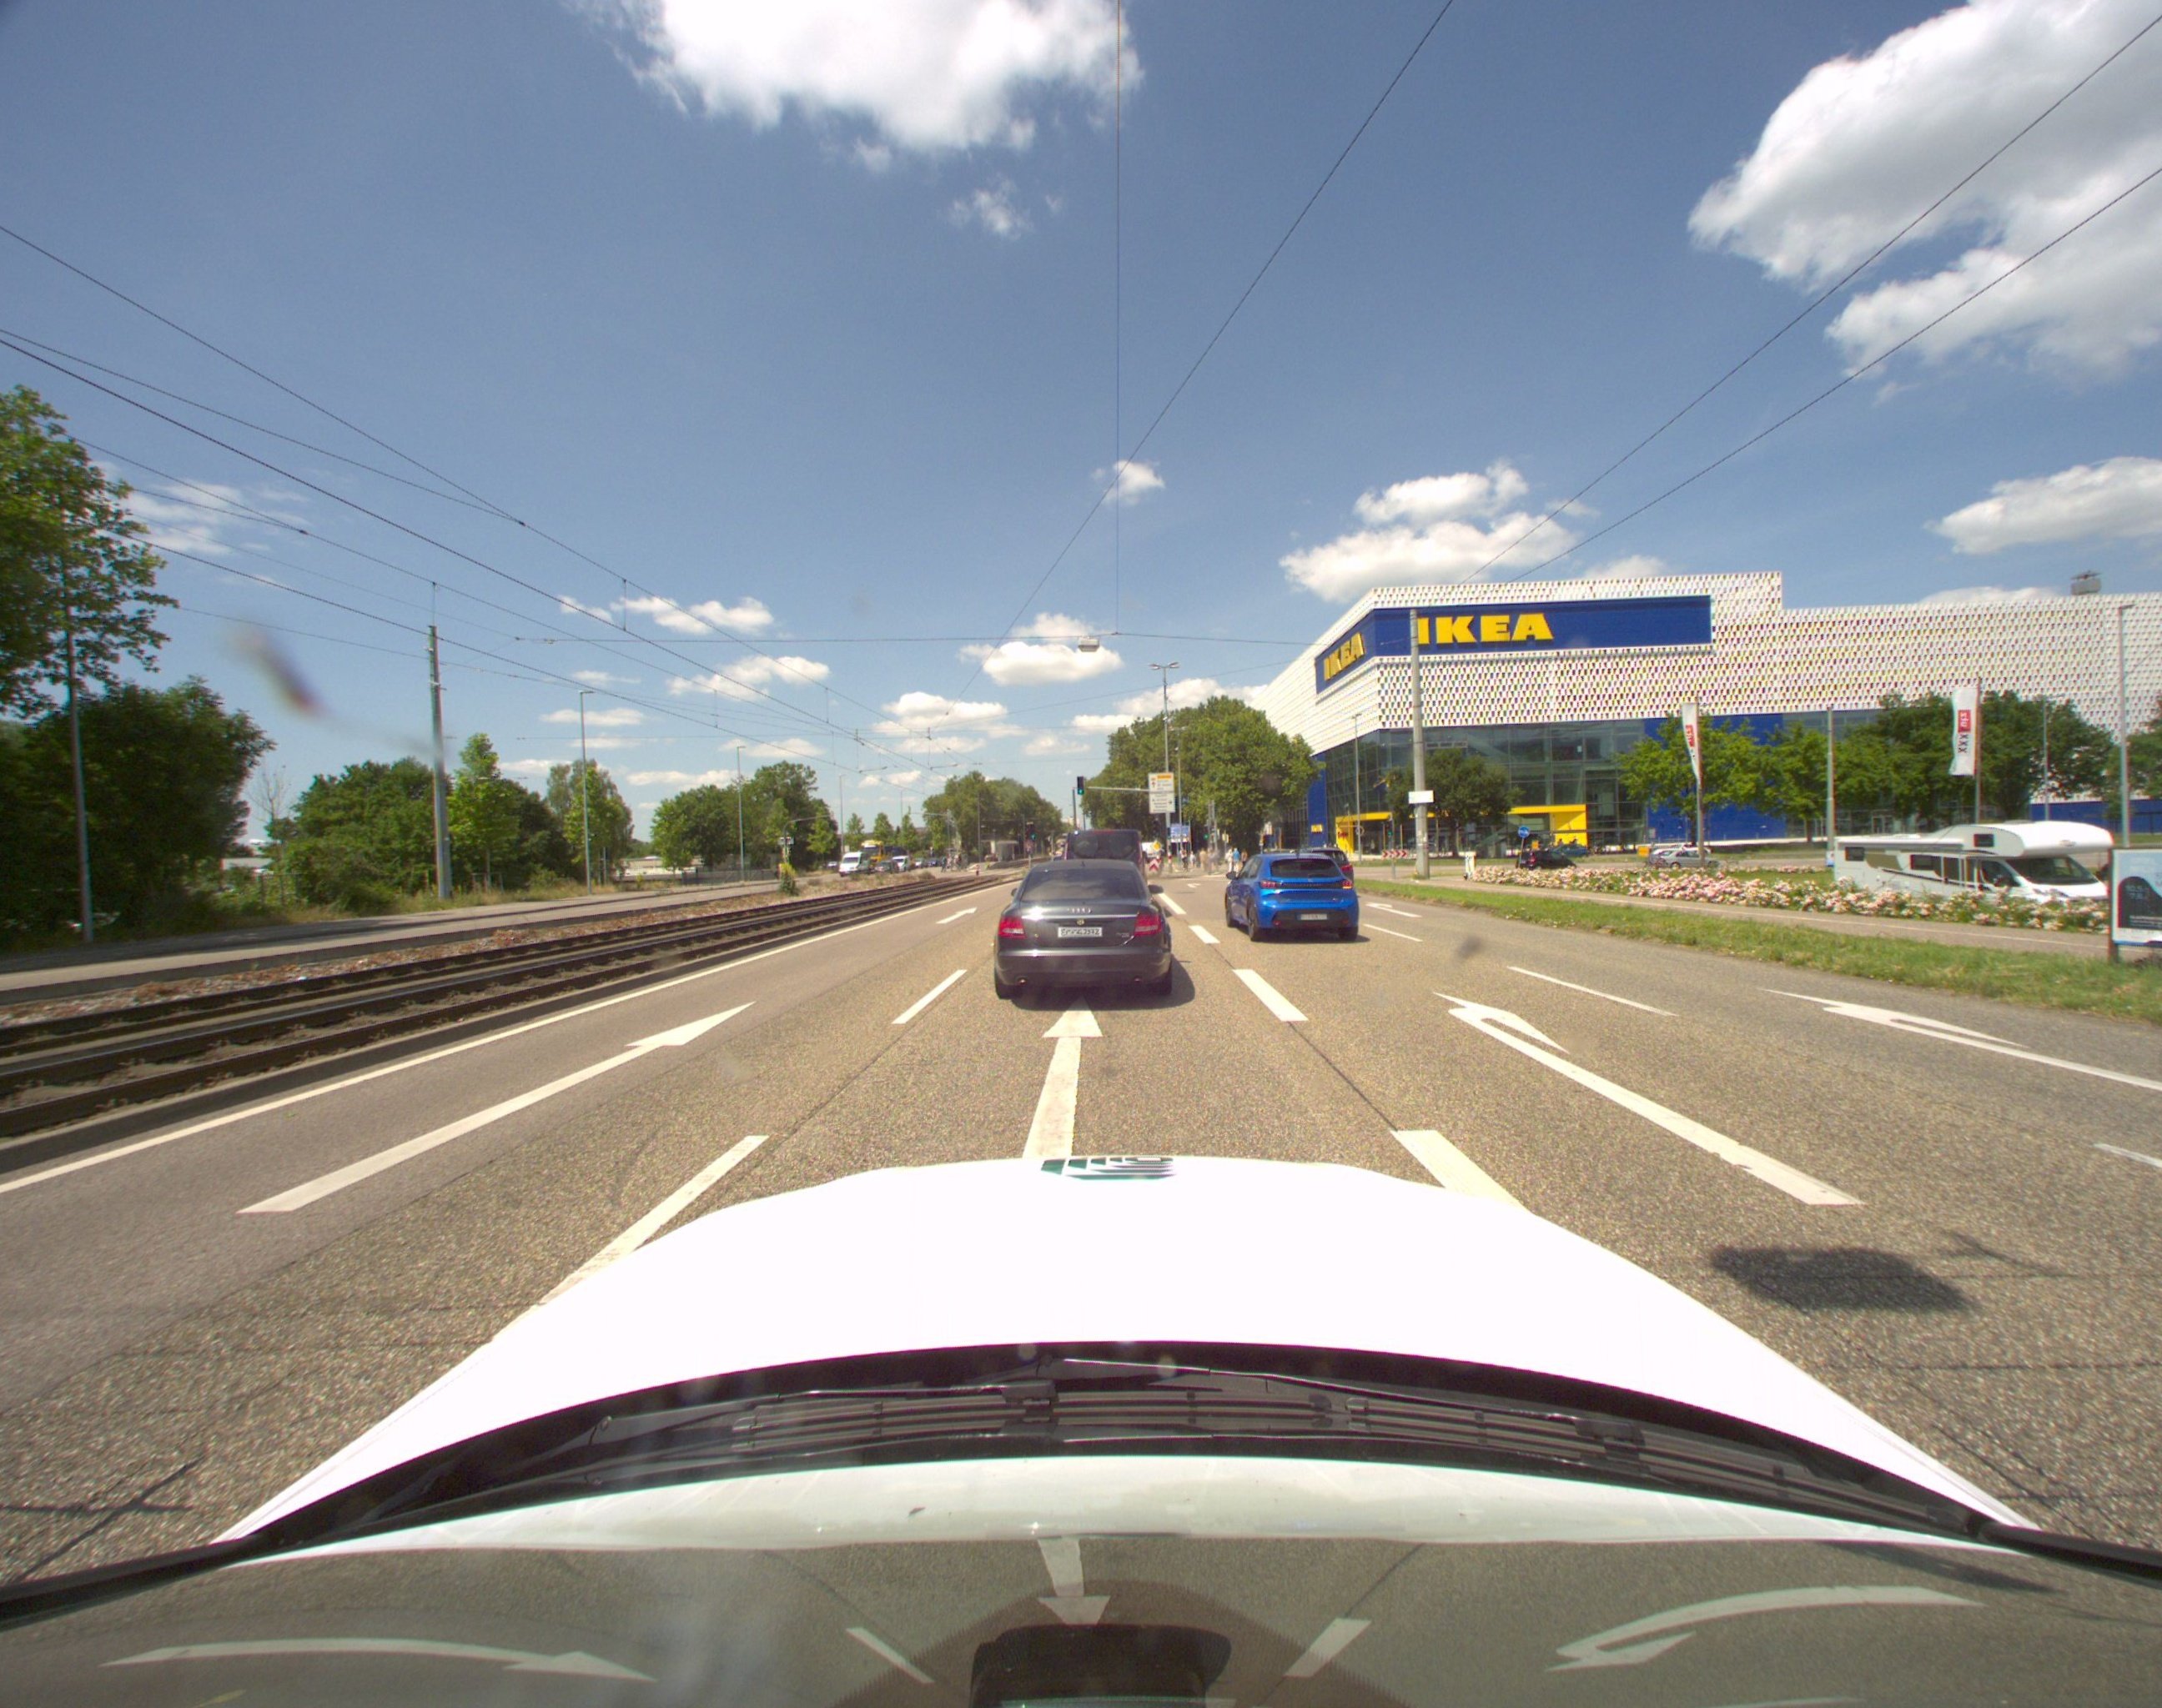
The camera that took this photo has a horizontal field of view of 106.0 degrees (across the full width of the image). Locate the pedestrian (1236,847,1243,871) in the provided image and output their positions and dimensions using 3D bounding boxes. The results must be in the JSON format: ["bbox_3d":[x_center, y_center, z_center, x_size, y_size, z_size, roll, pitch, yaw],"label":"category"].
[{"bbox_3d":[10.893,0.373,56.046,0.396,1.635,0.371,-1,0,5],"label":"pedestrian"}]

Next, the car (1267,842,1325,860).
[{"bbox_3d":[18.204,-0.255,69.128,4.475,1.486,2.003,0,0,5],"label":"car"}]

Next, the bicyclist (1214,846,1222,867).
[{"bbox_3d":[11.248,0.204,66.699,0.525,1.764,0.831,-1,0,15],"label":"bicyclist"}]

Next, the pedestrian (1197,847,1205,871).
[{"bbox_3d":[8.377,0.367,56.786,0.551,1.635,0.433,-1,0,4],"label":"pedestrian"}]

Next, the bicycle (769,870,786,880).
[{"bbox_3d":[-29.369,2.036,78.775,1.487,0.987,0.485,-1,0,-2],"label":"bicycle"}]

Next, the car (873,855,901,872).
[{"bbox_3d":[-20.636,1.017,86.797,1.815,1.670,4.463,0,0,2],"label":"car"}]

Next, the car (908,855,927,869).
[{"bbox_3d":[-23.112,1.105,115.255,1.811,1.883,4.002,-1,0,2],"label":"car"}]

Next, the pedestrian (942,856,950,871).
[{"bbox_3d":[-13.132,0.945,79.100,0.683,1.443,0.572,-1,0,-2],"label":"pedestrian"}]

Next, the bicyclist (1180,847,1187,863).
[{"bbox_3d":[7.738,0.072,61.429,0.468,1.193,0.792,-1,0,3],"label":"bicyclist"}]

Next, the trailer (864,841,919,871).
[{"bbox_3d":[-23.815,0.217,103.667,2.757,3.518,15.884,-1,0,2],"label":"trailer"}]

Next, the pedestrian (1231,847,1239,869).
[{"bbox_3d":[11.279,0.278,59.630,0.501,1.635,0.449,-1,0,4],"label":"pedestrian"}]

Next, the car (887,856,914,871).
[{"bbox_3d":[-20.682,1.031,93.597,1.814,1.670,4.465,0,0,3],"label":"car"}]

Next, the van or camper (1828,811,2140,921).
[{"bbox_3d":[28.238,0.325,26.104,2.494,3.020,7.235,-1,0,6],"label":"van or camper"}]

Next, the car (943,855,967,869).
[{"bbox_3d":[-15.067,0.965,97.819,1.814,1.670,4.467,0,0,4],"label":"car"}]

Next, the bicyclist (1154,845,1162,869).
[{"bbox_3d":[5.884,0.215,62.090,0.526,1.789,1.089,-1,0,2],"label":"bicyclist"}]

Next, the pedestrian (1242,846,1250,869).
[{"bbox_3d":[12.064,0.254,59.585,0.518,1.670,0.495,-1,0,5],"label":"pedestrian"}]

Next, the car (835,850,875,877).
[{"bbox_3d":[-24.130,1.010,87.205,2.235,2.588,6.236,-4,1,1],"label":"car"}]

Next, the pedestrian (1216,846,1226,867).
[{"bbox_3d":[12.576,0.196,73.266,0.678,1.846,0.711,-1,0,27],"label":"pedestrian"}]

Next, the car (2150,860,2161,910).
[{"bbox_3d":[35.048,0.955,23.580,1.986,1.537,4.772,-3,0,2],"label":"car"}]

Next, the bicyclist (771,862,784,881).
[{"bbox_3d":[-29.339,1.678,78.768,1.116,1.774,0.340,-1,0,-3],"label":"bicyclist"}]

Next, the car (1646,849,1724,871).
[{"bbox_3d":[42.136,0.382,56.840,4.145,1.486,1.997,0,0,-5],"label":"car"}]

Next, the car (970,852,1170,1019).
[{"bbox_3d":[-0.030,0.748,9.528,1.786,1.455,4.002,-2,0,2],"label":"car"}]

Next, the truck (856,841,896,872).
[{"bbox_3d":[-24.056,0.277,95.864,2.757,3.569,6.442,-1,0,2],"label":"truck"}]

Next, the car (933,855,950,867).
[{"bbox_3d":[-22.298,1.115,130.239,1.811,1.883,4.002,-1,0,2],"label":"car"}]

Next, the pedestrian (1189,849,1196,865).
[{"bbox_3d":[10.248,0.268,74.779,0.490,1.520,0.710,-1,0,19],"label":"pedestrian"}]

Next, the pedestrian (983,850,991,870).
[{"bbox_3d":[-9.385,0.619,81.313,0.683,2.013,0.572,-1,0,-3],"label":"pedestrian"}]

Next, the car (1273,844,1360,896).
[{"bbox_3d":[7.499,0.462,26.303,1.754,1.526,4.102,-1,0,3],"label":"car"}]

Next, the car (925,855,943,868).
[{"bbox_3d":[-22.558,1.108,124.896,1.811,1.883,4.002,-1,0,2],"label":"car"}]

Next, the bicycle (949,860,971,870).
[{"bbox_3d":[-11.564,1.042,78.150,2.055,0.925,0.751,-1,0,-8],"label":"bicycle"}]

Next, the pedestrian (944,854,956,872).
[{"bbox_3d":[-13.167,0.900,81.869,0.816,1.720,0.779,-1,0,24],"label":"pedestrian"}]

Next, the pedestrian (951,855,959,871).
[{"bbox_3d":[-12.446,0.882,80.196,0.683,1.564,0.572,-1,0,-2],"label":"pedestrian"}]

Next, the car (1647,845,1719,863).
[{"bbox_3d":[50.362,-0.006,68.171,4.475,1.486,2.003,0,0,5],"label":"car"}]

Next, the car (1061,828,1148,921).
[{"bbox_3d":[0.562,0.448,19.459,1.830,1.950,4.001,-1,0,2],"label":"car"}]

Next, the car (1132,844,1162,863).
[{"bbox_3d":[7.972,-0.053,98.883,1.999,2.309,4.747,-1,0,-18],"label":"car"}]

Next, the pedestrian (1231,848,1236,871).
[{"bbox_3d":[10.506,0.381,56.109,0.319,1.635,0.377,-1,0,5],"label":"pedestrian"}]

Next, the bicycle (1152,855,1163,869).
[{"bbox_3d":[5.834,0.616,62.092,0.685,0.993,2.753,-1,0,2],"label":"bicycle"}]

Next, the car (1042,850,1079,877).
[{"bbox_3d":[-1.167,0.534,48.723,1.986,1.486,4.002,0,0,2],"label":"car"}]

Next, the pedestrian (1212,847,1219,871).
[{"bbox_3d":[9.366,0.361,56.743,0.379,1.635,0.377,-1,0,5],"label":"pedestrian"}]

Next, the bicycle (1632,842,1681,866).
[{"bbox_3d":[37.016,-0.009,52.436,2.410,1.481,0.990,-1,0,6],"label":"bicycle"}]

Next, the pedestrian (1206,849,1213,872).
[{"bbox_3d":[8.924,0.448,56.718,0.443,1.635,0.430,-1,0,5],"label":"pedestrian"}]

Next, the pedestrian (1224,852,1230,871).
[{"bbox_3d":[10.066,0.528,56.093,0.371,1.303,0.365,-1,0,5],"label":"pedestrian"}]

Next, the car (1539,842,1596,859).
[{"bbox_3d":[42.691,-0.333,71.514,3.770,1.486,2.003,0,0,5],"label":"car"}]

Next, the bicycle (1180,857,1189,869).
[{"bbox_3d":[7.736,0.662,60.992,0.547,0.877,1.698,-1,0,3],"label":"bicycle"}]

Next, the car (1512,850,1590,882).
[{"bbox_3d":[31.837,0.804,55.223,4.170,2.013,1.999,-1,0,-2],"label":"car"}]

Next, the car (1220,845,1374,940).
[{"bbox_3d":[3.684,0.577,14.596,1.830,1.454,4.002,0,0,2],"label":"car"}]
